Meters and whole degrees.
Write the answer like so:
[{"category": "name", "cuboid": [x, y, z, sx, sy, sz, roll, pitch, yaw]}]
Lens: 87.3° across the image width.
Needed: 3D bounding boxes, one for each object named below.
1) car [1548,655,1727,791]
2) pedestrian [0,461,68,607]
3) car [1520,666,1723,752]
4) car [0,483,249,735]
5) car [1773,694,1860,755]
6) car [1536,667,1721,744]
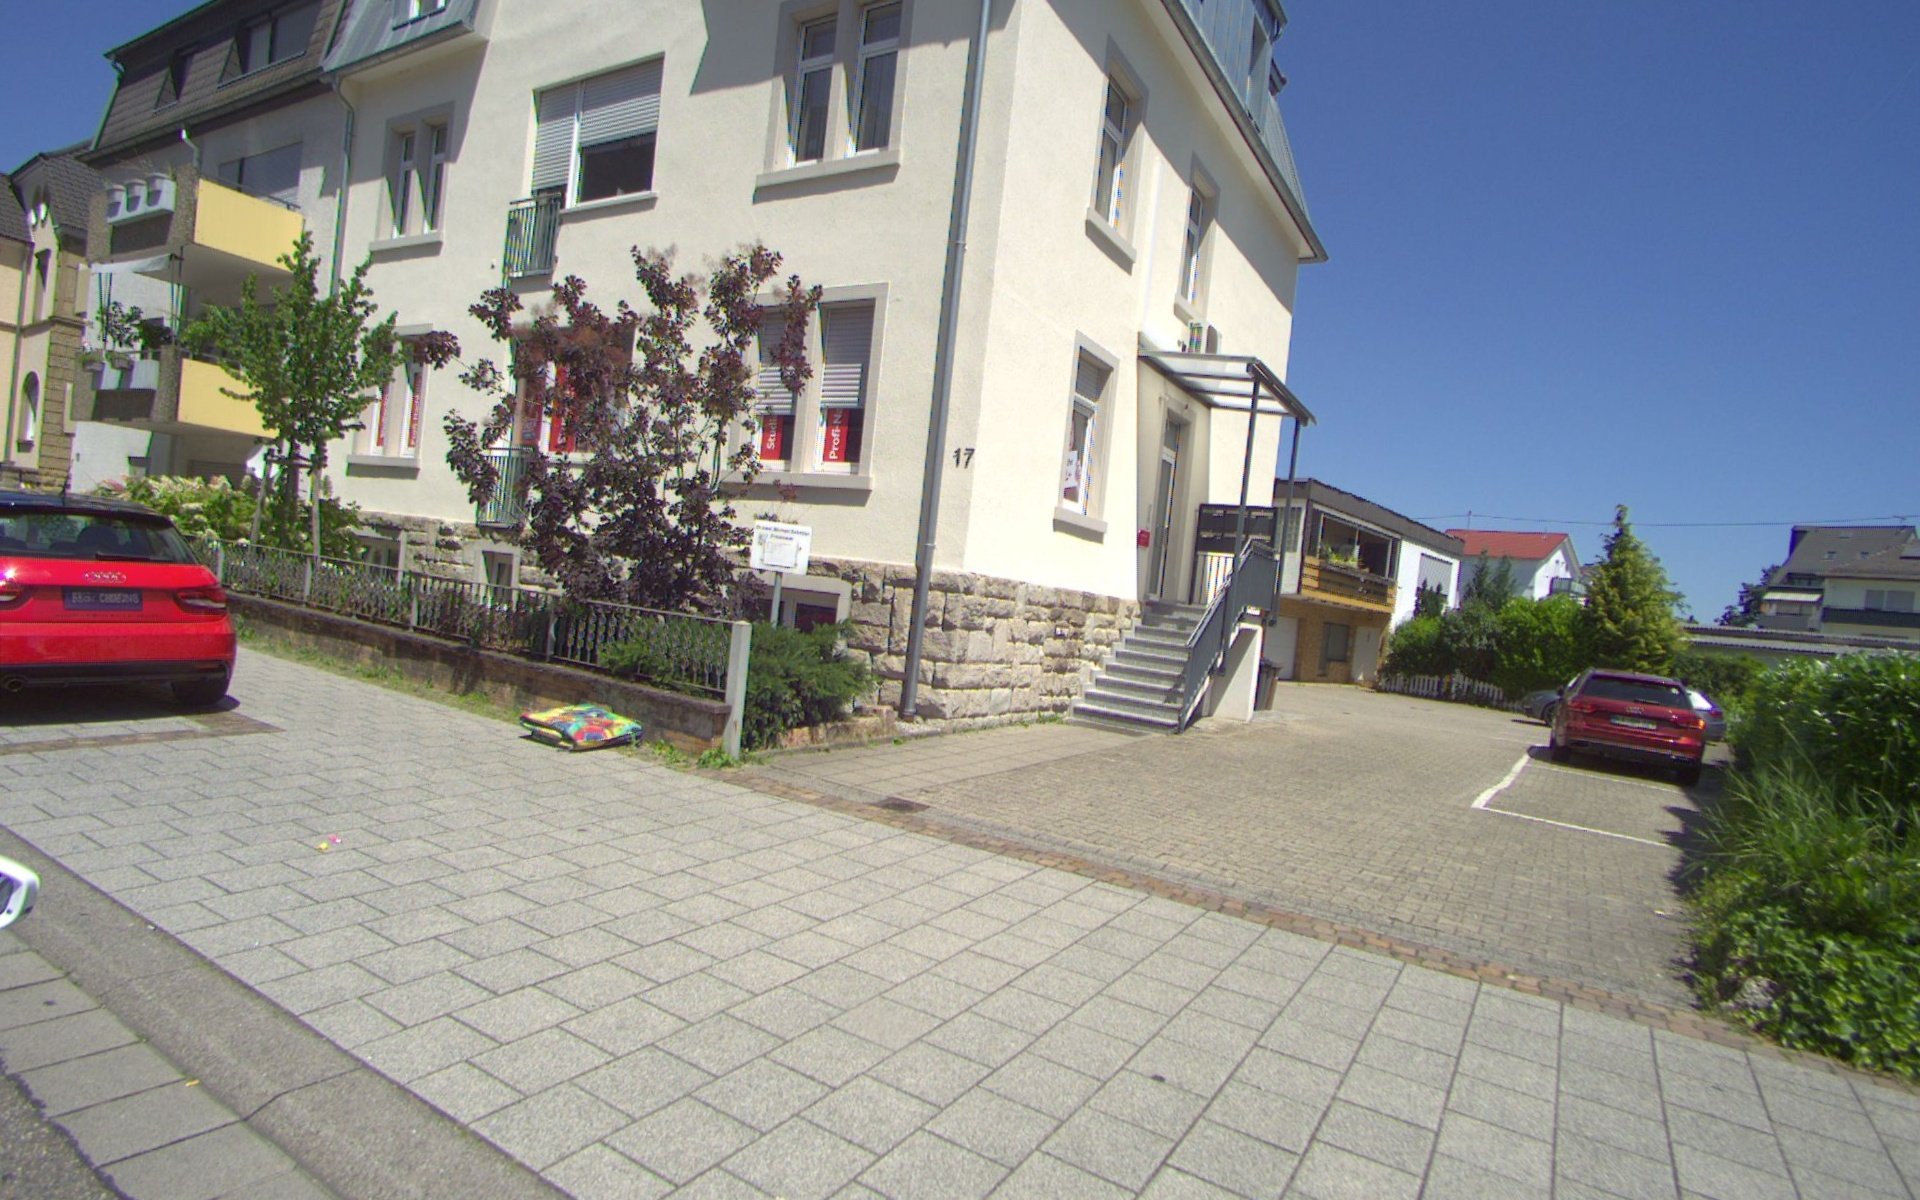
[{"category": "car", "cuboid": [10.139, 1.792, 15.262, 1.841, 1.534, 4.187, 7, -1, 32]}, {"category": "pedestrian", "cuboid": [-11.354, -0.800, 12.082, 0.694, 1.692, 0.740, 7, 4, 31]}, {"category": "car", "cuboid": [16.201, 2.632, 24.839, 3.935, 1.438, 1.802, 7, 0, 33]}, {"category": "car", "cuboid": [-6.946, -0.103, 7.338, 3.791, 1.460, 1.602, 7, 3, 34]}, {"category": "car", "cuboid": [27.524, 3.943, 32.434, 1.630, 1.594, 3.850, 7, 0, 35]}, {"category": "car", "cuboid": [17.966, 2.803, 27.238, 3.935, 1.438, 1.802, 7, 0, 33]}]
